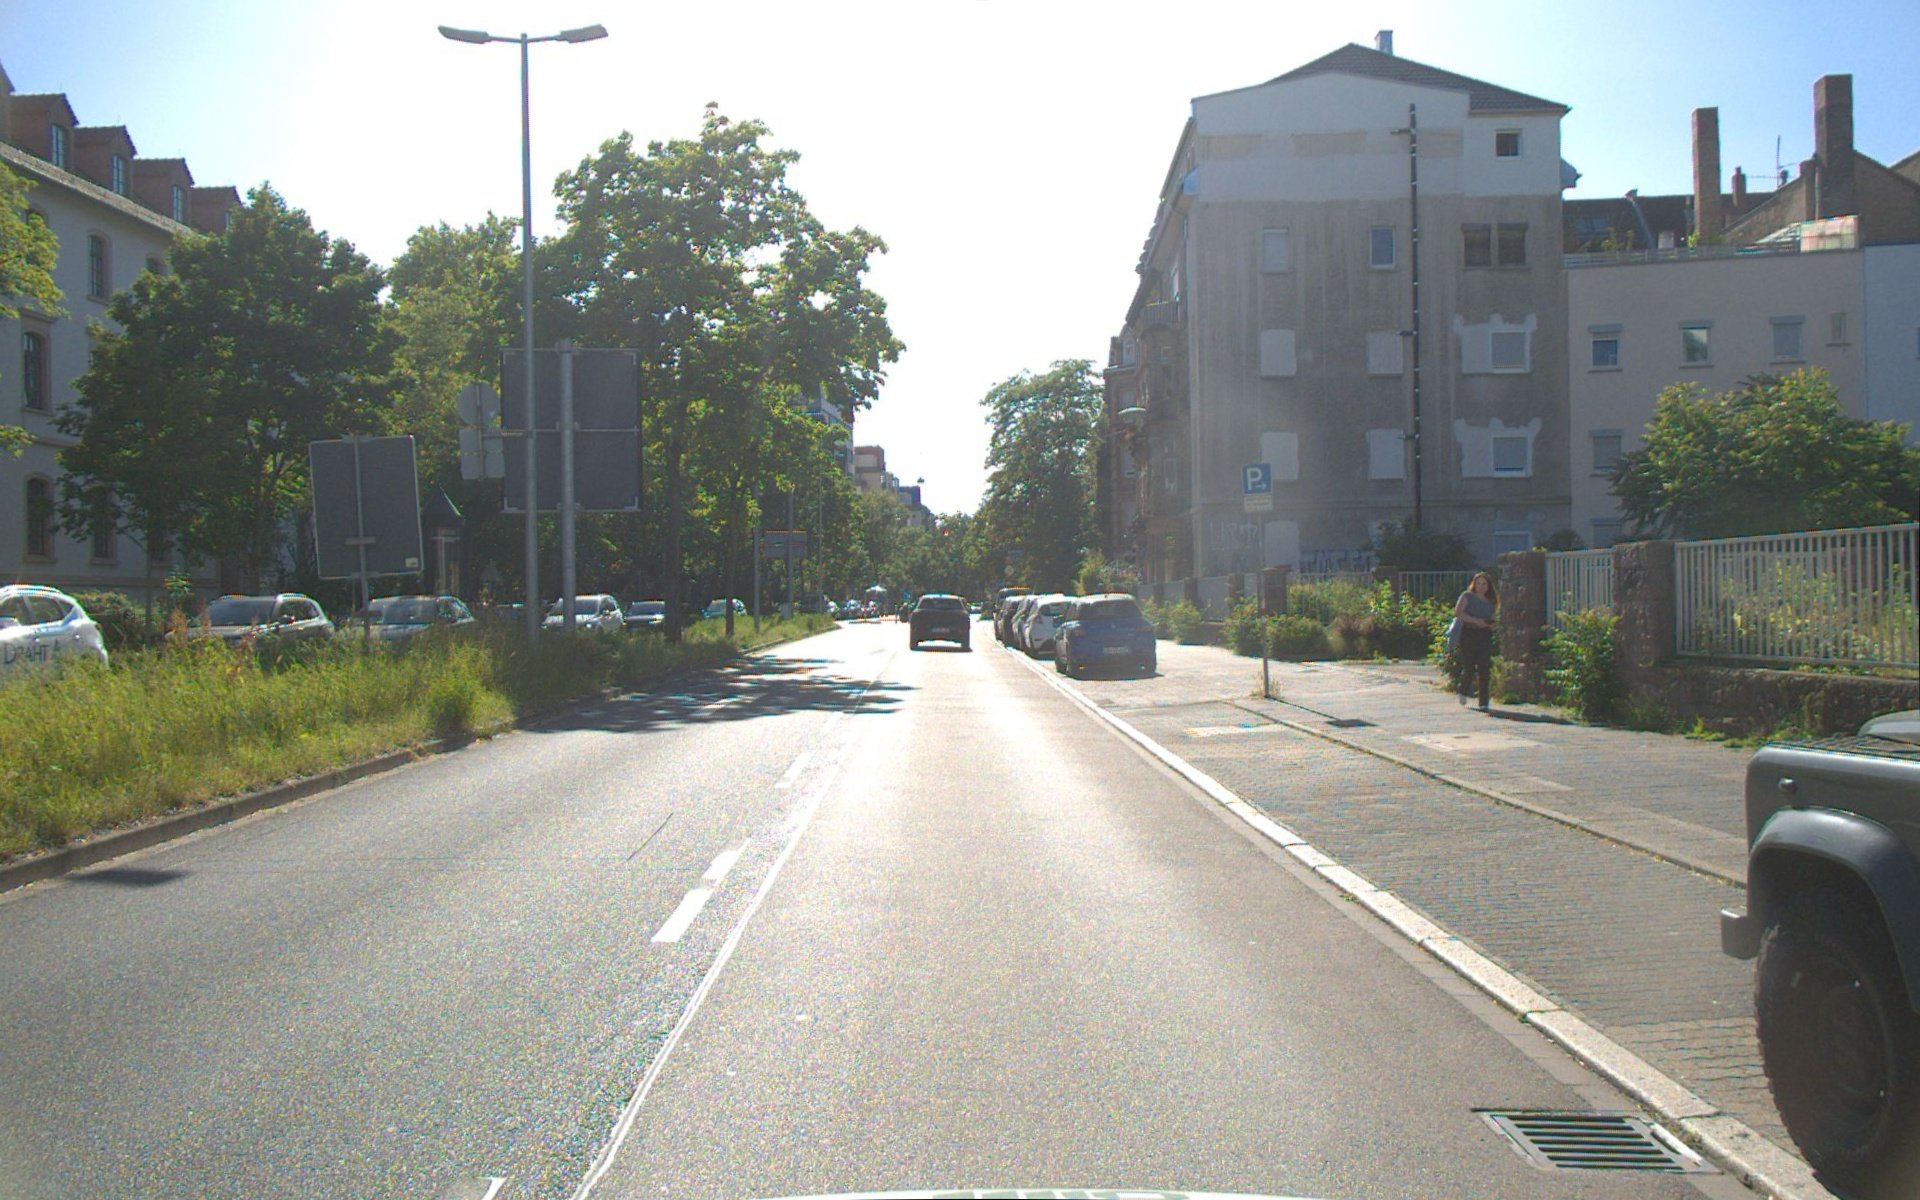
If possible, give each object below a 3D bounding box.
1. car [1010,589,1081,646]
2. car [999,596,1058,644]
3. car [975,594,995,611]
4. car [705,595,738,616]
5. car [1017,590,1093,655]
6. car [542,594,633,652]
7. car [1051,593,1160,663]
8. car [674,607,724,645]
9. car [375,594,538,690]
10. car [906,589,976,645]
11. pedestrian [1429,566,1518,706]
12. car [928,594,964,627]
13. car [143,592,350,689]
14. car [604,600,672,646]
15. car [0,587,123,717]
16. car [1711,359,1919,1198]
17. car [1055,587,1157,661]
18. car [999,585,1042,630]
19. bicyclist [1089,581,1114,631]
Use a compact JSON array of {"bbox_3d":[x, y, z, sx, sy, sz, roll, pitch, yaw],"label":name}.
[{"bbox_3d":[2.462,0.480,48.253,1.635,1.545,3.658,-1,1,-4],"label":"car"},{"bbox_3d":[2.184,0.618,53.649,1.634,1.418,3.774,-1,1,-2],"label":"car"},{"bbox_3d":[2.603,0.253,171.572,1.880,1.668,4.001,-1,0,2],"label":"car"},{"bbox_3d":[-19.995,0.442,138.621,1.946,1.691,3.976,-1,0,-20],"label":"car"},{"bbox_3d":[2.431,0.555,42.926,1.576,1.471,3.657,-4,1,-2],"label":"car"},{"bbox_3d":[-11.481,0.664,51.233,1.862,1.654,4.535,-2,0,-2],"label":"car"},{"bbox_3d":[2.875,0.524,33.376,1.635,1.203,3.899,-4,1,-2],"label":"car"},{"bbox_3d":[-11.368,1.118,72.366,1.605,1.545,4.257,-1,0,-2],"label":"car"},{"bbox_3d":[-9.227,0.823,30.659,1.717,1.646,4.321,0,-3,-1],"label":"car"},{"bbox_3d":[-0.590,0.464,48.619,1.857,1.545,3.997,1,0,-3],"label":"car"},{"bbox_3d":[6.152,0.415,19.850,0.728,1.611,0.896,-2,0,-1],"label":"pedestrian"},{"bbox_3d":[-0.712,0.515,83.121,1.756,1.546,3.849,0,1,-1],"label":"car"},{"bbox_3d":[-12.246,0.697,28.685,1.759,1.546,4.257,0,-1,-1],"label":"car"},{"bbox_3d":[-11.725,0.839,60.475,1.759,1.545,4.085,-2,-1,-2],"label":"car"},{"bbox_3d":[-12.335,0.625,20.590,1.759,1.545,4.257,0,0,-2],"label":"car"},{"bbox_3d":[3.160,0.415,2.651,1.626,2.049,4.775,-2,0,-1],"label":"car"},{"bbox_3d":[3.290,0.514,38.004,1.635,1.485,3.983,-4,1,-4],"label":"car"},{"bbox_3d":[2.649,0.296,72.542,1.781,1.876,4.365,-1,1,2],"label":"car"},{"bbox_3d":[4.612,0.191,53.834,0.726,1.607,1.100,0,1,1],"label":"bicyclist"}]
